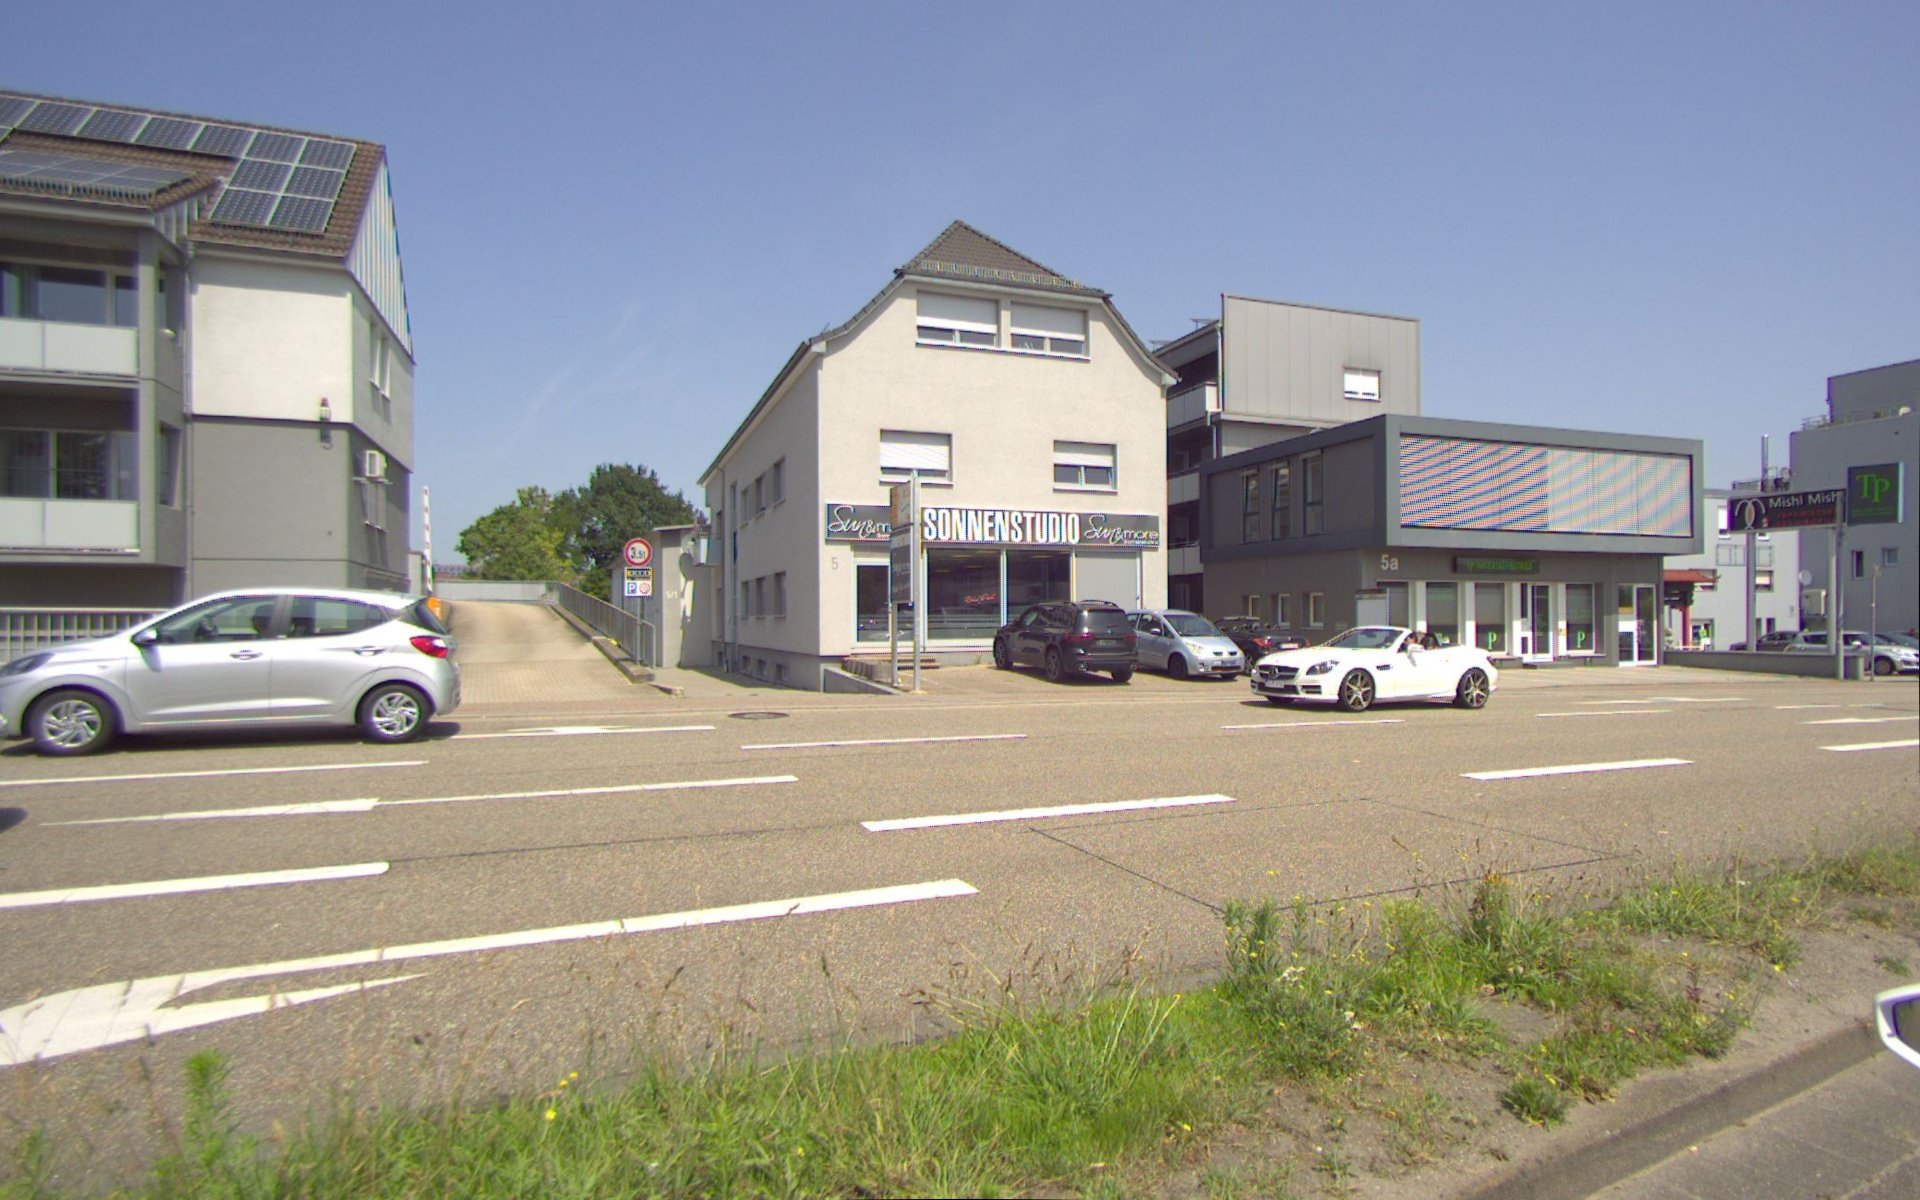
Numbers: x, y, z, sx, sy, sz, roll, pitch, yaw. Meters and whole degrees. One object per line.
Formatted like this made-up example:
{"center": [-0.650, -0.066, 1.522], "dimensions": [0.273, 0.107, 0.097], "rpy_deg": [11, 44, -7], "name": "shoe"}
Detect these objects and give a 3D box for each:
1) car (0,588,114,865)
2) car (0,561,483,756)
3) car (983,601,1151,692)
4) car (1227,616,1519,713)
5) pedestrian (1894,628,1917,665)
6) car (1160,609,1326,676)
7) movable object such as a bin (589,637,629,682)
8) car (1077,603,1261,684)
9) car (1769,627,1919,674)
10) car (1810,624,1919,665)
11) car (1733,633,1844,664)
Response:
{"center": [-6.964, 0.576, 4.763], "dimensions": [4.145, 1.379, 1.890], "rpy_deg": [2, -1, -28], "name": "car"}
{"center": [-6.955, 0.526, 9.716], "dimensions": [4.145, 1.587, 1.890], "rpy_deg": [2, -1, -28], "name": "car"}
{"center": [2.246, 0.948, 22.507], "dimensions": [1.826, 1.649, 4.597], "rpy_deg": [1, 2, -21], "name": "car"}
{"center": [6.571, 0.978, 15.969], "dimensions": [4.293, 1.372, 1.801], "rpy_deg": [1, -1, -23], "name": "car"}
{"center": [44.238, 2.181, 46.978], "dimensions": [0.616, 1.679, 0.544], "rpy_deg": [2, 0, -22], "name": "pedestrian"}
{"center": [7.091, 1.058, 25.579], "dimensions": [1.972, 1.541, 4.047], "rpy_deg": [1, -2, -24], "name": "car"}
{"center": [-11.544, 1.956, 33.026], "dimensions": [1.010, 1.404, 1.171], "rpy_deg": [2, -1, -29], "name": "movable object such as a bin"}
{"center": [4.877, 0.957, 24.150], "dimensions": [1.731, 1.517, 4.585], "rpy_deg": [1, 3, -29], "name": "car"}
{"center": [30.454, 1.696, 34.419], "dimensions": [1.554, 1.478, 3.975], "rpy_deg": [2, -2, -25], "name": "car"}
{"center": [32.915, 1.568, 35.585], "dimensions": [1.643, 1.389, 3.995], "rpy_deg": [-1, -3, -18], "name": "car"}
{"center": [42.221, 2.425, 51.271], "dimensions": [1.938, 1.487, 3.959], "rpy_deg": [0, -2, -26], "name": "car"}
